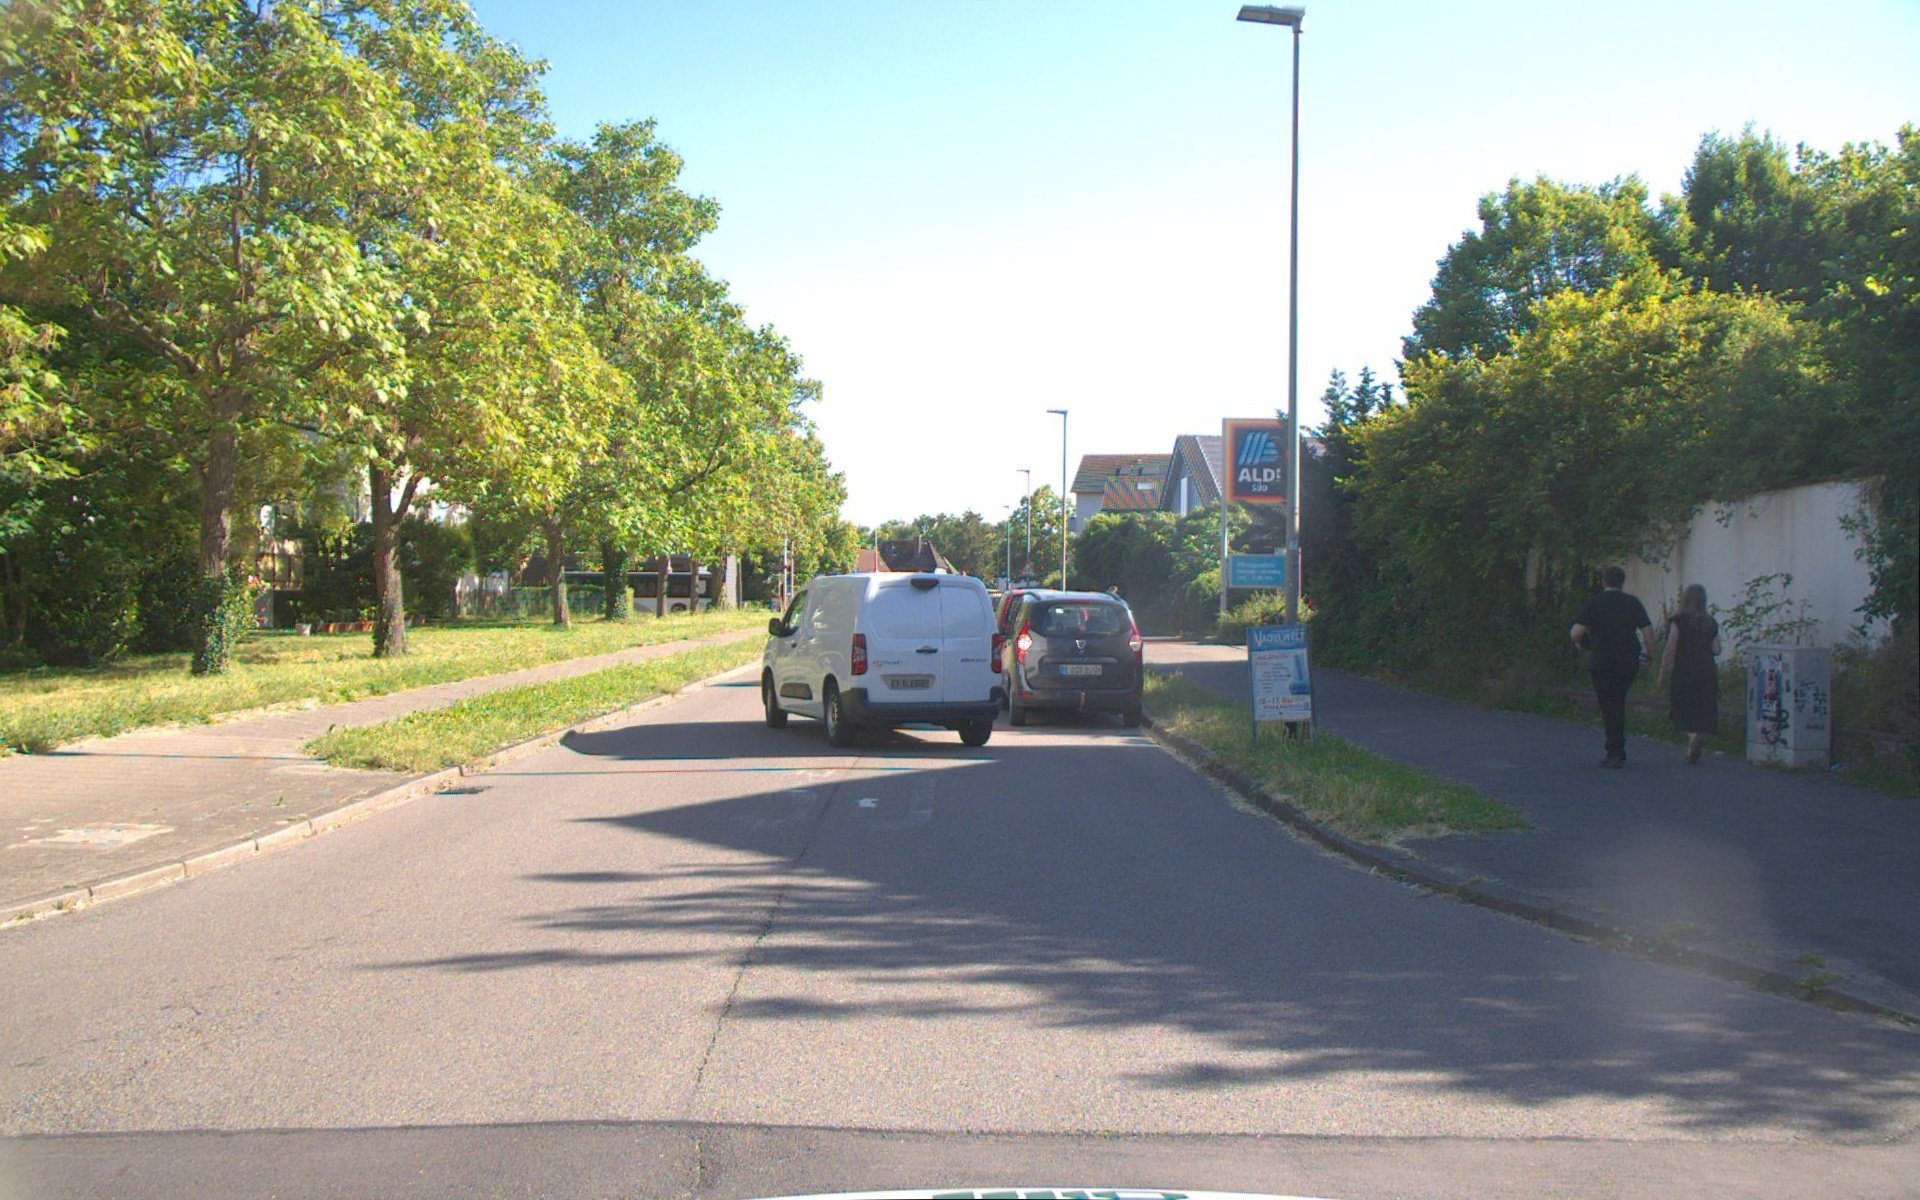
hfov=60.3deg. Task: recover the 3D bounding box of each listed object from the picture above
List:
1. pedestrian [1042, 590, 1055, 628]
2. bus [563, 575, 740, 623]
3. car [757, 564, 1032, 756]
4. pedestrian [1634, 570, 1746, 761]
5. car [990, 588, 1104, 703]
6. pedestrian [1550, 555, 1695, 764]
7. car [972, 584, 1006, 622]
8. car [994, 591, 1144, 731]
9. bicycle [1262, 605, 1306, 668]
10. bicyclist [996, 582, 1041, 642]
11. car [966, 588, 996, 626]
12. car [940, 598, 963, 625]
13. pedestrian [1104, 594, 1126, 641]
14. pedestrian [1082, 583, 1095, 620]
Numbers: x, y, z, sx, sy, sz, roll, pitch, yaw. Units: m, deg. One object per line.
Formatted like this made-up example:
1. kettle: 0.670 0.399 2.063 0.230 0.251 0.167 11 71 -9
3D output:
1. pedestrian: 3.841 0.390 71.917 0.555 1.665 0.547 0 0 5
2. bus: -18.516 -0.049 99.833 10.361 2.874 3.041 0 -1 -9
3. car: -0.888 0.594 18.932 1.964 1.914 4.263 0 0 -20
4. pedestrian: 6.476 0.574 14.708 0.561 1.637 0.792 -1 -2 -4
5. car: 1.439 0.717 28.767 1.802 1.837 4.654 0 0 1
6. pedestrian: 5.776 0.510 14.481 0.788 1.747 0.983 -1 -1 -4
7. car: 1.481 0.182 84.673 1.689 1.869 4.000 1 0 1
8. car: 1.366 0.728 22.210 1.689 1.685 4.352 0 0 0
9. bicycle: 6.696 0.746 34.152 0.705 1.242 1.897 -2 -1 16
10. bicyclist: 1.634 0.335 45.859 0.944 1.612 0.907 0 -1 26
11. car: 1.494 0.510 118.649 1.829 2.607 4.766 2 -1 -1
12. car: -0.747 0.976 137.723 1.768 2.105 3.998 3 -1 -1
13. pedestrian: 6.037 0.669 64.423 0.781 1.813 0.809 0 0 8
14. pedestrian: 5.835 0.056 75.165 0.555 1.665 0.547 0 0 5
